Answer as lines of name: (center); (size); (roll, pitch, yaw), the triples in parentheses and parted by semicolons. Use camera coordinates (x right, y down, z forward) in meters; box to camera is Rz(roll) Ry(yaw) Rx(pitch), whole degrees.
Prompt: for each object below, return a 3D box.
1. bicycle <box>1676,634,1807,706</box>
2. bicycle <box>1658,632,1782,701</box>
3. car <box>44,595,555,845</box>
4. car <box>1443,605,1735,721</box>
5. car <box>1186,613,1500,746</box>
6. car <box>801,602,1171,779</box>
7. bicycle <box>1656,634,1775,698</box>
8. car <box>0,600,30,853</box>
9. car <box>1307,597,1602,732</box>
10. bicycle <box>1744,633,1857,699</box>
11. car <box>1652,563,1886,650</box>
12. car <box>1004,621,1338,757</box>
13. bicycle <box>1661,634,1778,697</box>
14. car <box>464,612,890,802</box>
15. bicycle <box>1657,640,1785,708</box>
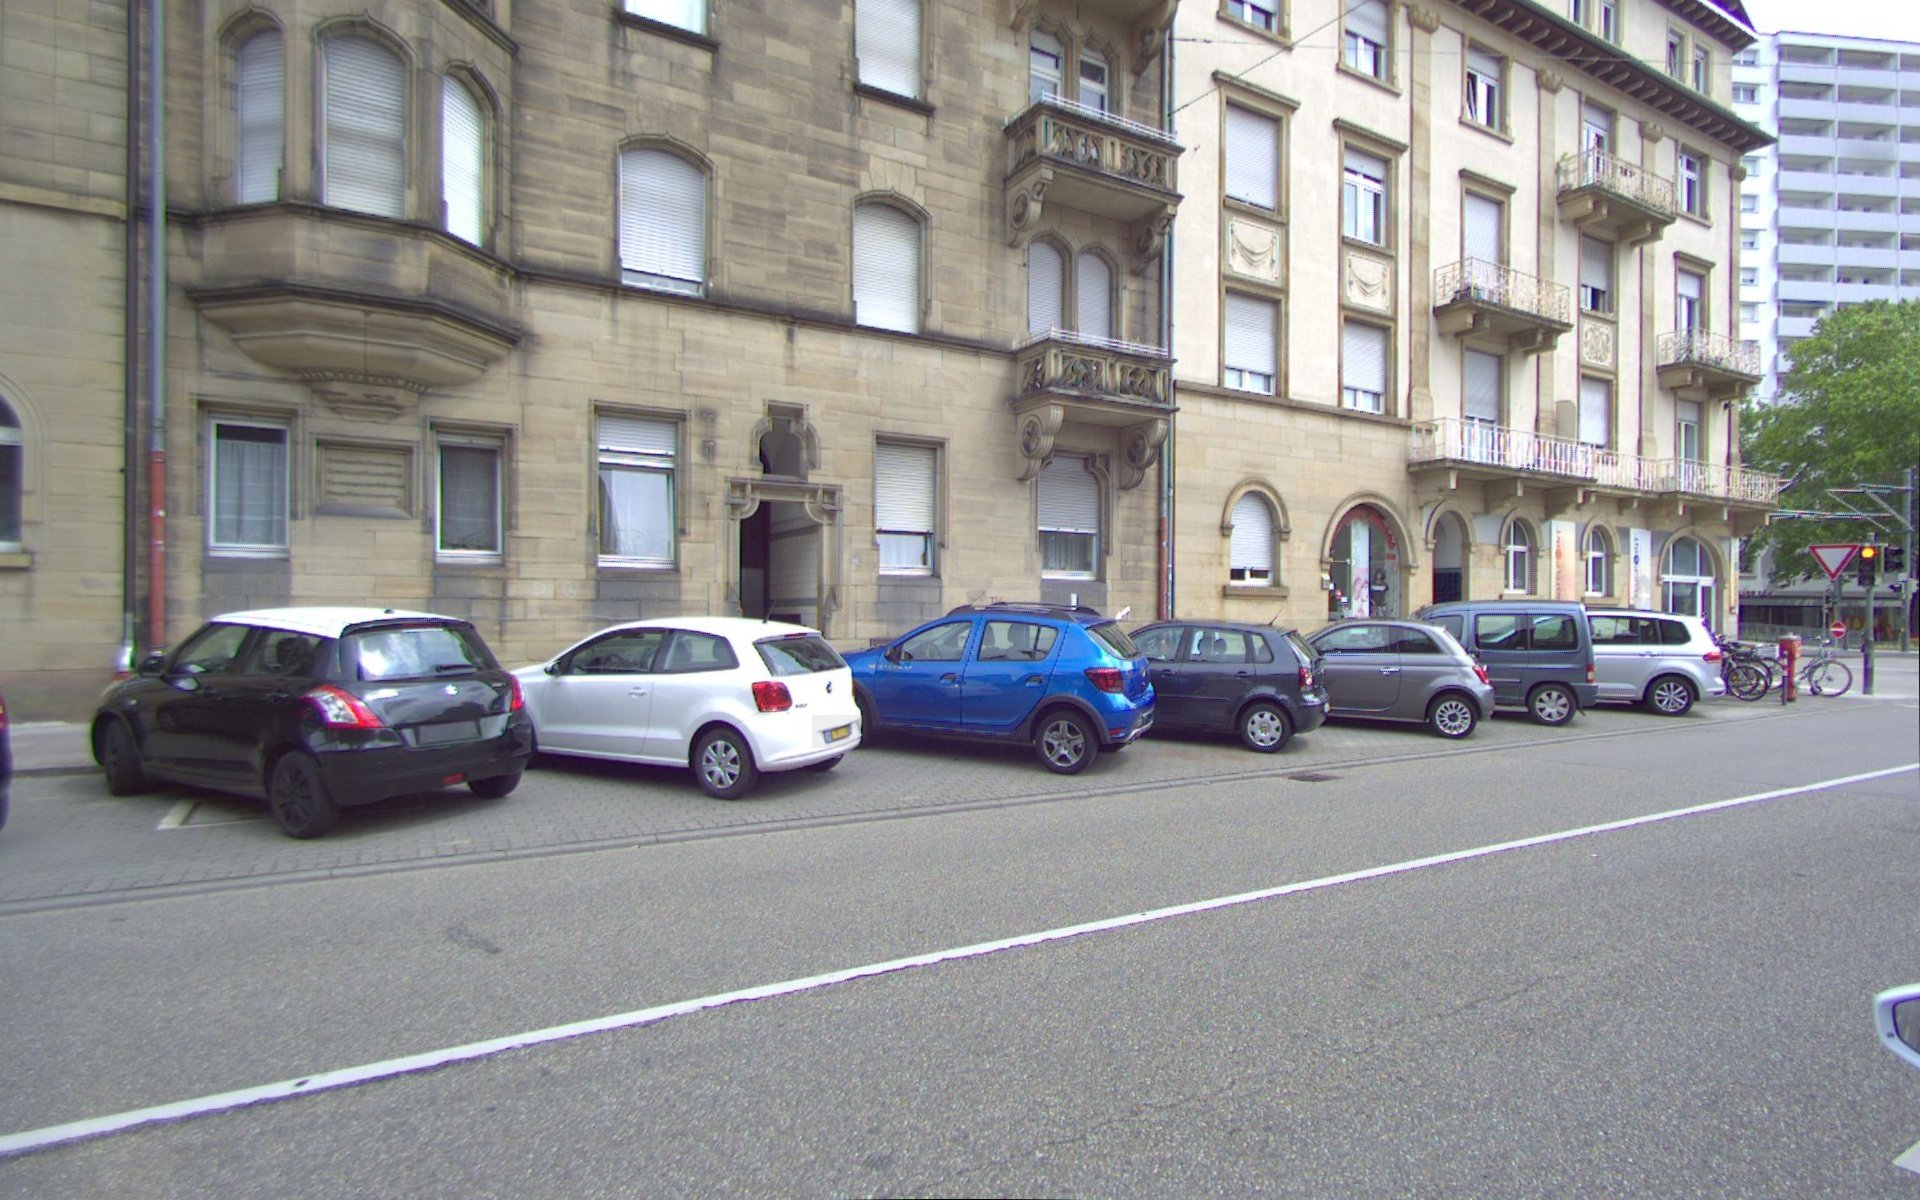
bicycle: (14.427, 1.266, 18.611); (0.586, 1.135, 1.803); (1, 2, -25)
bicycle: (14.748, 1.267, 19.535); (0.589, 1.182, 1.796); (1, 1, -37)
car: (-5.363, 0.781, 8.098); (3.939, 1.585, 1.794); (0, -1, 28)
car: (10.490, 0.994, 17.103); (3.934, 1.797, 1.796); (0, -1, 21)
car: (5.338, 1.031, 14.297); (3.934, 1.673, 1.796); (0, -1, 21)
car: (0.294, 0.876, 11.076); (3.706, 1.673, 1.723); (0, -1, 24)
bicycle: (15.107, 1.301, 20.131); (0.589, 1.135, 1.796); (1, 1, -37)
car: (-7.852, 0.758, 6.293); (3.921, 1.523, 1.630); (0, -1, 25)
car: (7.560, 0.933, 15.747); (3.934, 1.904, 1.796); (0, -1, 21)
bicycle: (17.015, 1.318, 20.389); (0.489, 1.182, 1.878); (1, 1, -9)
car: (40.712, 0.396, 51.240); (3.389, 3.967, 9.910); (0, -1, -5)
car: (2.676, 1.013, 12.697); (3.829, 1.463, 1.836); (0, -1, 25)
bicycle: (15.598, 1.319, 20.665); (0.589, 1.135, 1.796); (1, 1, -37)
car: (-2.666, 0.870, 9.514); (3.616, 1.501, 1.741); (0, -1, 24)
bicycle: (13.831, 1.317, 18.318); (0.586, 1.135, 1.805); (1, -1, -23)
